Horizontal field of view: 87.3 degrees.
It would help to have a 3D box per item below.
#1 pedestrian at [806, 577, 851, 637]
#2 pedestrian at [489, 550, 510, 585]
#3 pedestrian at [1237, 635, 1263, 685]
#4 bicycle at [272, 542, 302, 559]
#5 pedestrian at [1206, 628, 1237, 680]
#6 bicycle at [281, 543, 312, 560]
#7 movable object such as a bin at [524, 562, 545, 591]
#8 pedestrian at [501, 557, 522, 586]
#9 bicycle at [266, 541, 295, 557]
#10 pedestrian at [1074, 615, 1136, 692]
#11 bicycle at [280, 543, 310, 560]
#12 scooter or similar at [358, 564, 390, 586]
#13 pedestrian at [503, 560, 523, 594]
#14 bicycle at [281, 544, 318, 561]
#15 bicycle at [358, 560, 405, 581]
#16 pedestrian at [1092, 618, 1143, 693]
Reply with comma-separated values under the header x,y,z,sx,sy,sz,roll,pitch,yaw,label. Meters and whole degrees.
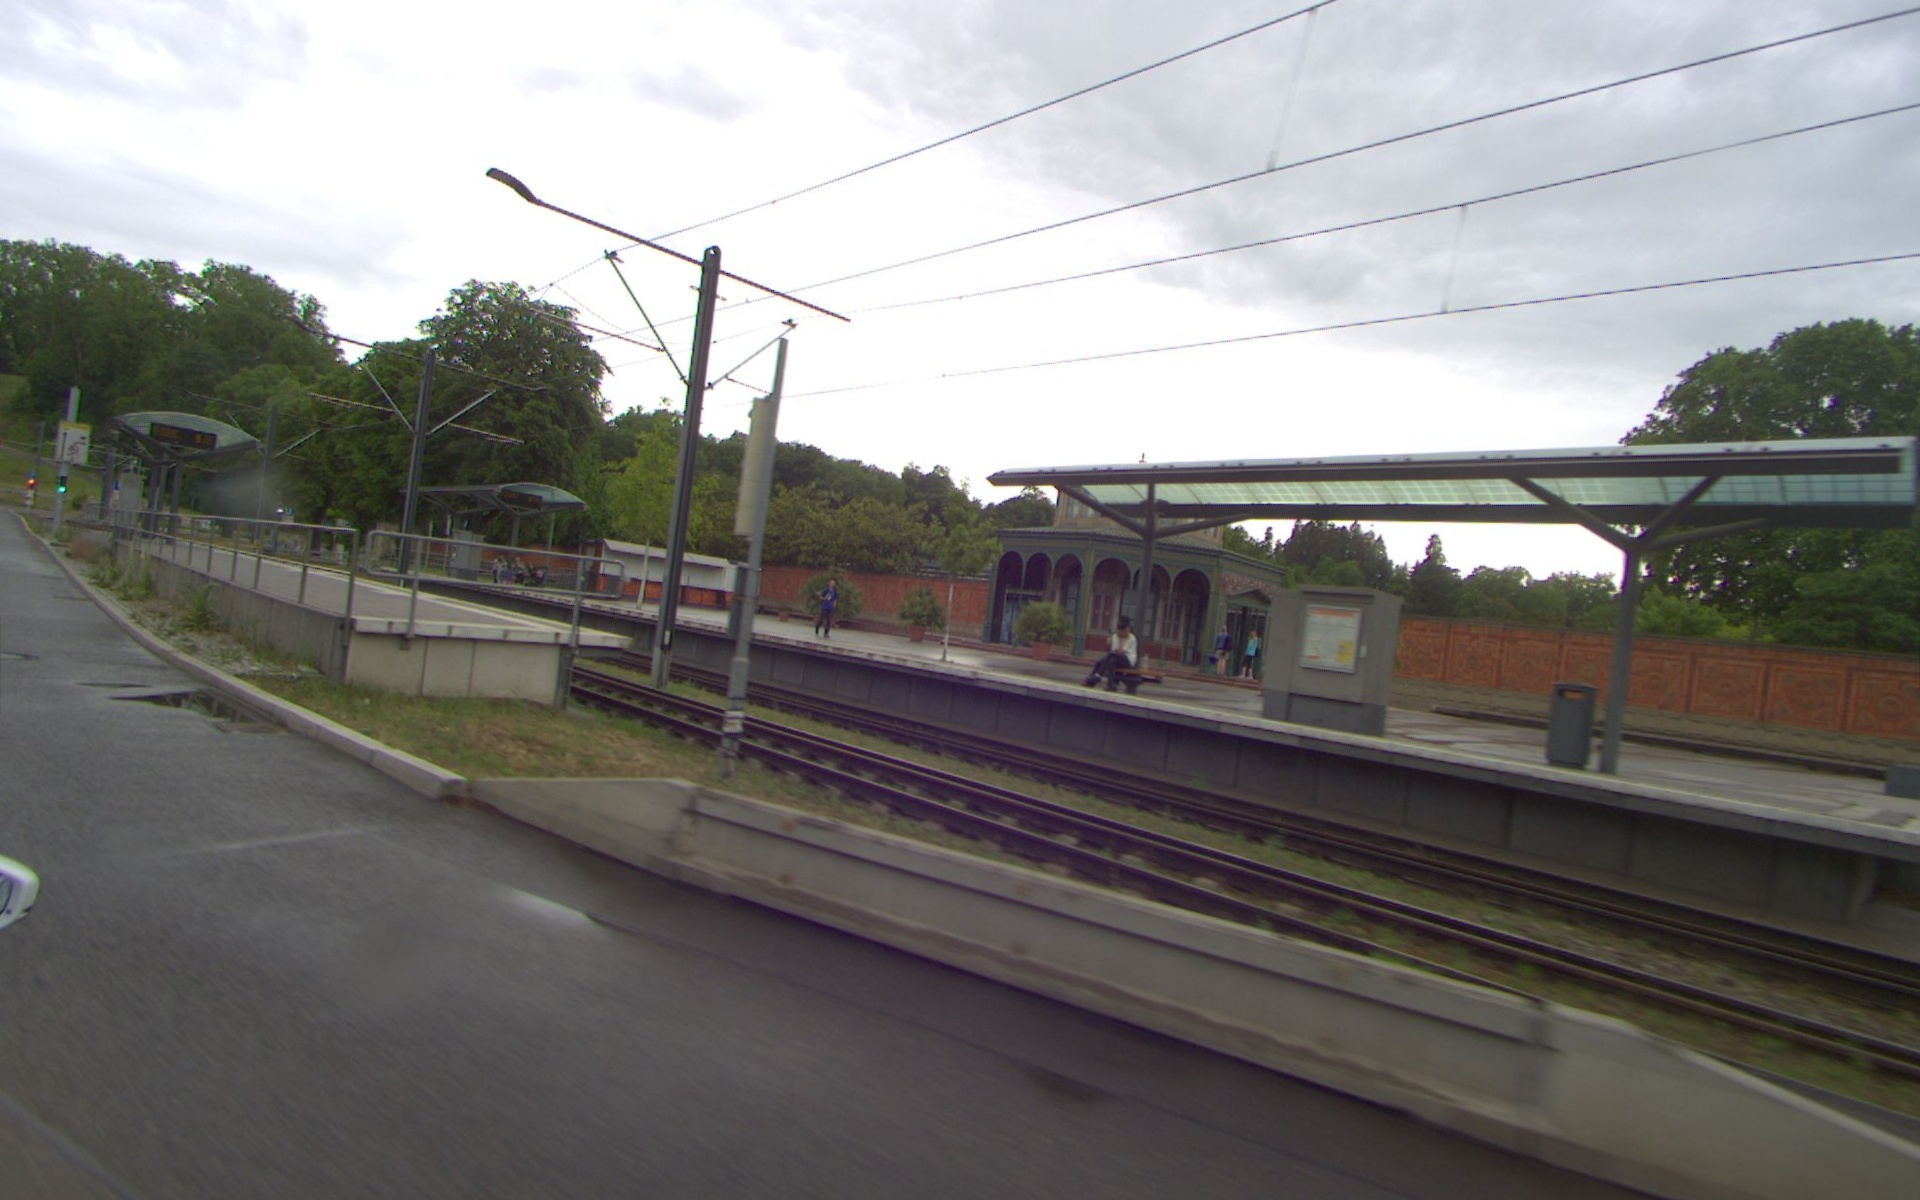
x,y,z,sx,sy,sz,roll,pitch,yaw,label
-4.267,0.221,32.655,0.718,1.812,1.167,6,1,-43,pedestrian
-17.424,-1.236,38.042,0.435,1.241,0.544,7,0,-43,pedestrian
10.102,2.095,34.999,0.542,1.675,0.469,8,-2,-10,pedestrian
-53.702,-3.956,80.261,0.644,1.044,1.807,7,-1,43,bicycle
9.109,1.875,35.066,0.528,1.728,0.690,10,-4,-33,pedestrian
-51.838,-3.758,78.609,0.644,1.044,1.807,7,-1,43,bicycle
-16.124,-0.900,38.111,0.435,1.021,0.673,7,-1,-43,movable object such as a bin
-16.802,-1.056,37.686,0.435,1.021,0.544,7,-1,-43,pedestrian
-56.158,-4.225,83.198,0.644,1.044,1.807,7,-1,43,bicycle
2.560,0.933,17.771,0.772,1.224,0.519,5,-7,42,pedestrian
-52.419,-3.811,79.278,0.644,1.044,1.807,7,-1,43,bicycle
-36.702,-1.550,63.006,0.426,1.150,1.540,7,-1,44,scooter or similar
-17.205,-0.883,38.717,0.435,1.241,0.544,7,0,-43,pedestrian
-51.215,-3.676,78.016,0.680,1.044,2.219,7,-1,43,bicycle
-34.603,-1.753,60.188,0.563,0.968,2.317,7,-1,44,bicycle
2.627,0.924,16.754,0.511,1.129,0.602,7,-6,30,pedestrian
